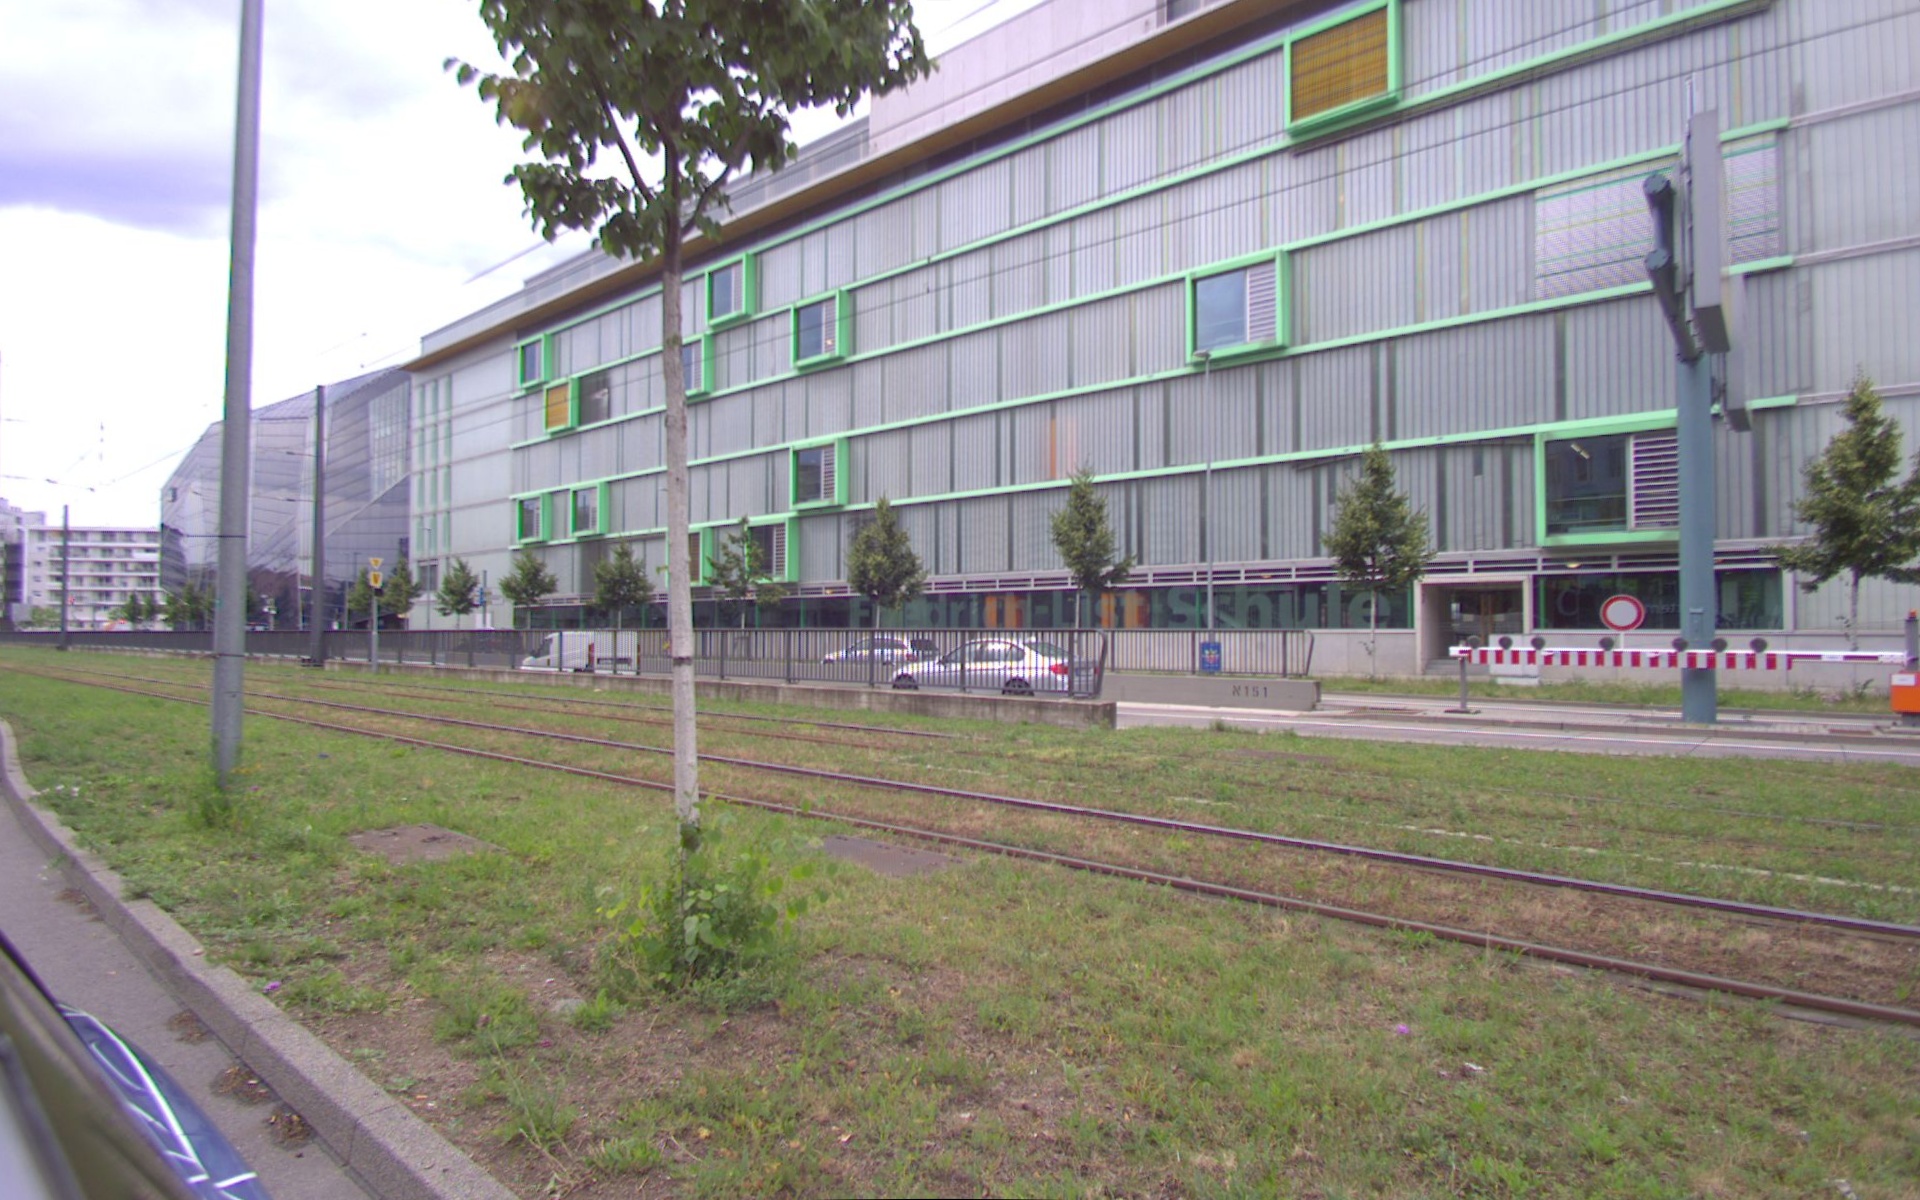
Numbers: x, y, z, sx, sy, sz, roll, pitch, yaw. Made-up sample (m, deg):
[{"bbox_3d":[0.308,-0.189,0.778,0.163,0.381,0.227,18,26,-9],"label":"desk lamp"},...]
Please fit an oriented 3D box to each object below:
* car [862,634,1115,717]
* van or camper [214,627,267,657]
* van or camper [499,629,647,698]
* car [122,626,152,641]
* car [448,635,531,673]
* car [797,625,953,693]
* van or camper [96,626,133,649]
[{"bbox_3d":[0.474,1.441,19.917,4.913,1.456,1.712,-2,-4,37],"label":"car"},{"bbox_3d":[-55.981,3.250,78.754,5.356,2.304,2.150,-2,-3,41],"label":"van or camper"},{"bbox_3d":[-11.790,1.869,30.668,5.120,1.915,1.870,-1,-3,40],"label":"van or camper"},{"bbox_3d":[-92.860,3.774,114.161,4.766,1.605,1.972,-4,-4,43],"label":"car"},{"bbox_3d":[-23.780,2.669,51.032,4.965,1.837,1.972,-2,-2,42],"label":"car"},{"bbox_3d":[-2.837,1.836,32.824,5.292,2.029,1.972,-2,-2,42],"label":"car"},{"bbox_3d":[-89.993,4.007,107.682,6.503,2.304,2.150,-2,-2,42],"label":"van or camper"}]
